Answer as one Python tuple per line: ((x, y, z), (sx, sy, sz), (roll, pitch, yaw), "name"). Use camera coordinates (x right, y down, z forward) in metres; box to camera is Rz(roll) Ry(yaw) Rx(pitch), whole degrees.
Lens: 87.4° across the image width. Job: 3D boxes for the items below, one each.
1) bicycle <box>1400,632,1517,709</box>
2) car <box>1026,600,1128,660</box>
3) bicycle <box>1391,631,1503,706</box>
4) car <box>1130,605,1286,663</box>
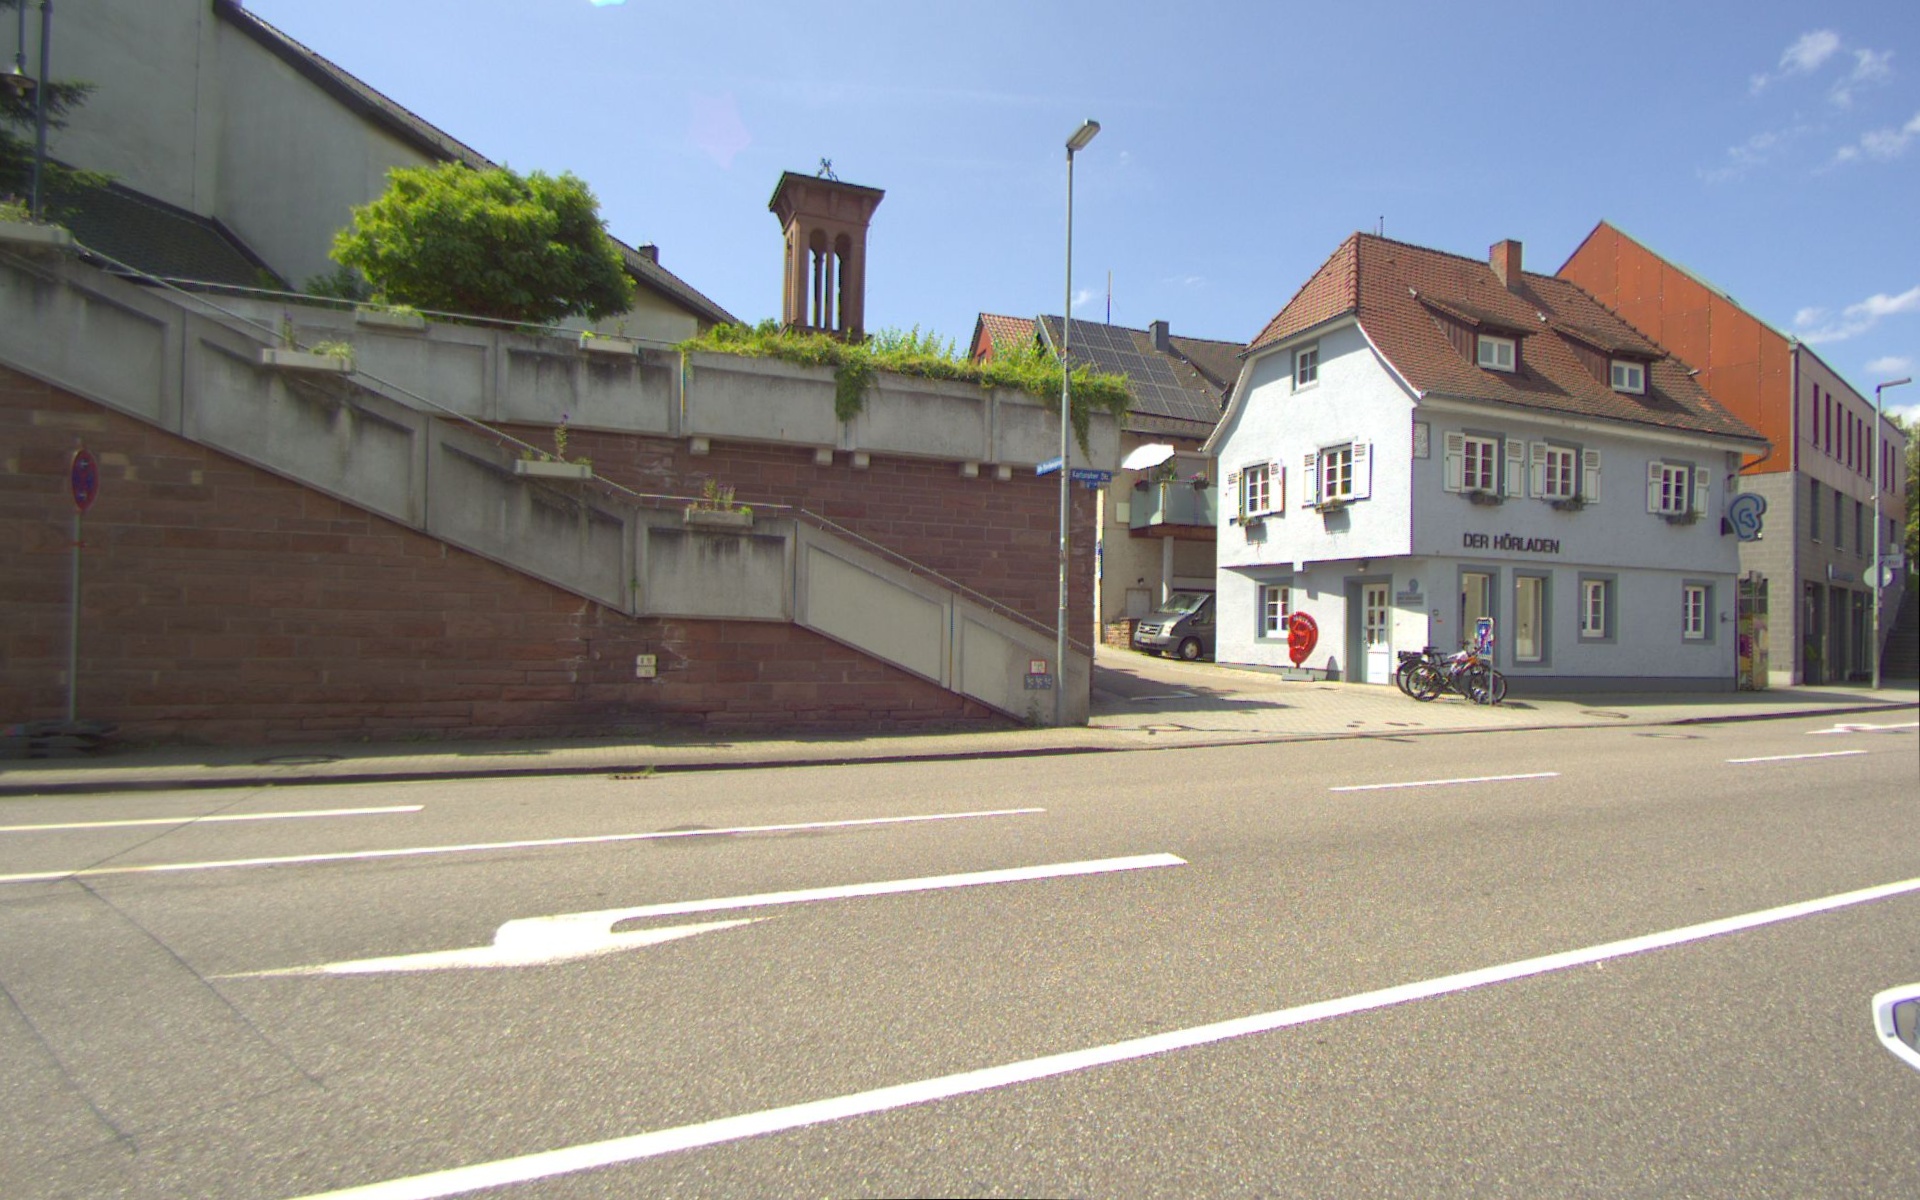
((9.156, 1.276, 18.503), (1.794, 1.266, 0.579), (2, 2, 16), "bicycle")
((3.187, 0.789, 28.165), (1.948, 1.541, 3.996), (1, 0, -6), "car")
((9.260, 1.288, 19.148), (1.794, 1.266, 0.579), (2, 2, 16), "bicycle")
((7.101, 0.959, 28.890), (3.930, 1.503, 1.862), (2, -1, -11), "car")
